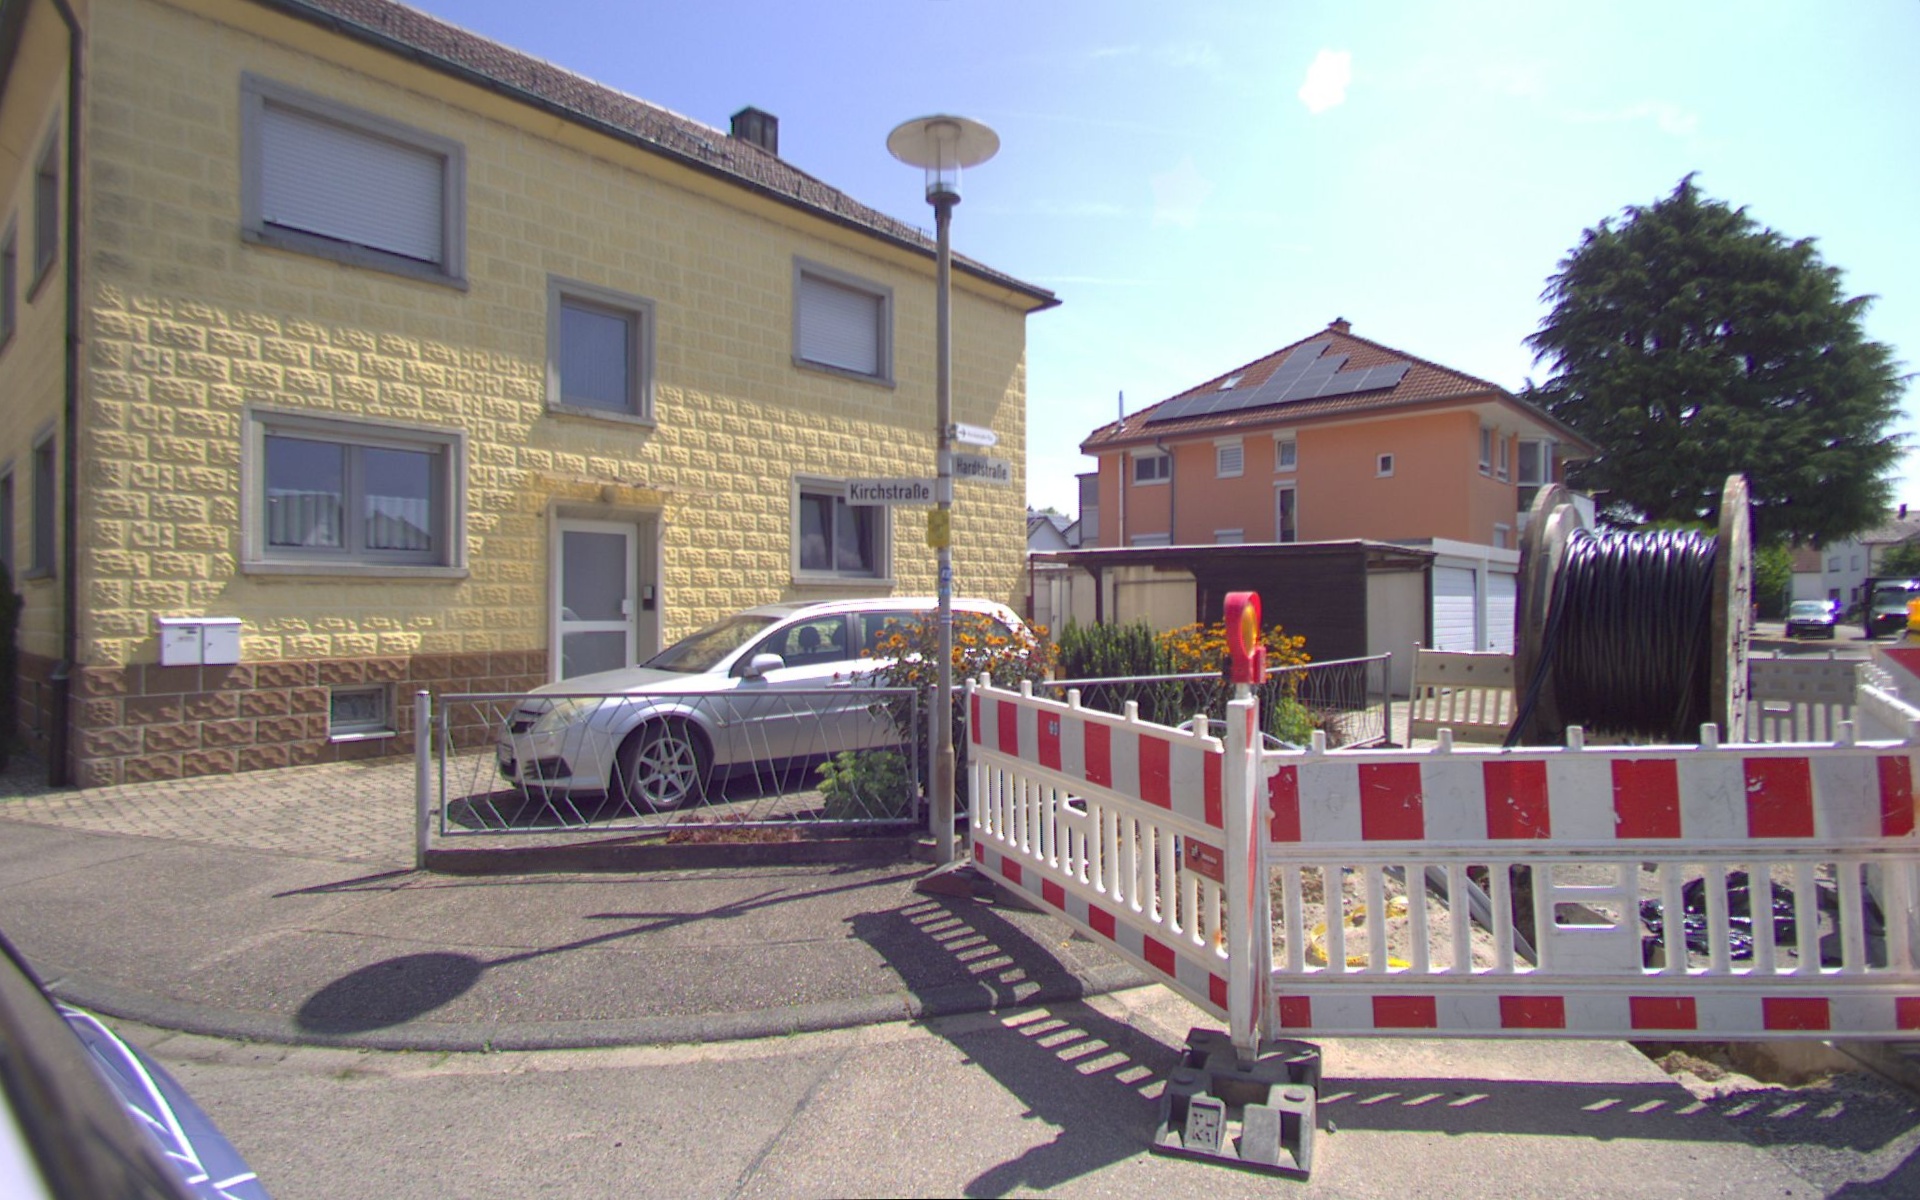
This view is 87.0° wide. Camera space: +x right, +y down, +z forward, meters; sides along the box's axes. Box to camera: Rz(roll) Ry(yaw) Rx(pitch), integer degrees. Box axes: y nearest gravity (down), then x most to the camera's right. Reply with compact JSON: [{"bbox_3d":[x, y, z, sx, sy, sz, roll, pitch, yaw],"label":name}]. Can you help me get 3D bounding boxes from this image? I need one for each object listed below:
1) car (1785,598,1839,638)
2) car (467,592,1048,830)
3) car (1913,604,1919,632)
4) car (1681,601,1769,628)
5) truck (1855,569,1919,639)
[{"bbox_3d":[40.099,0.829,47.694,1.812,1.776,4.152,-1,-1,38],"label":"car"},{"bbox_3d":[-1.516,0.718,8.408,4.400,1.496,1.796,0,-1,-37],"label":"car"},{"bbox_3d":[52.572,0.974,54.219,1.812,1.506,3.948,-1,-1,38],"label":"car"},{"bbox_3d":[48.281,0.919,63.917,4.208,1.665,1.788,-1,-1,44],"label":"car"},{"bbox_3d":[41.511,0.196,44.846,2.440,2.809,7.199,-5,-3,40],"label":"truck"}]
